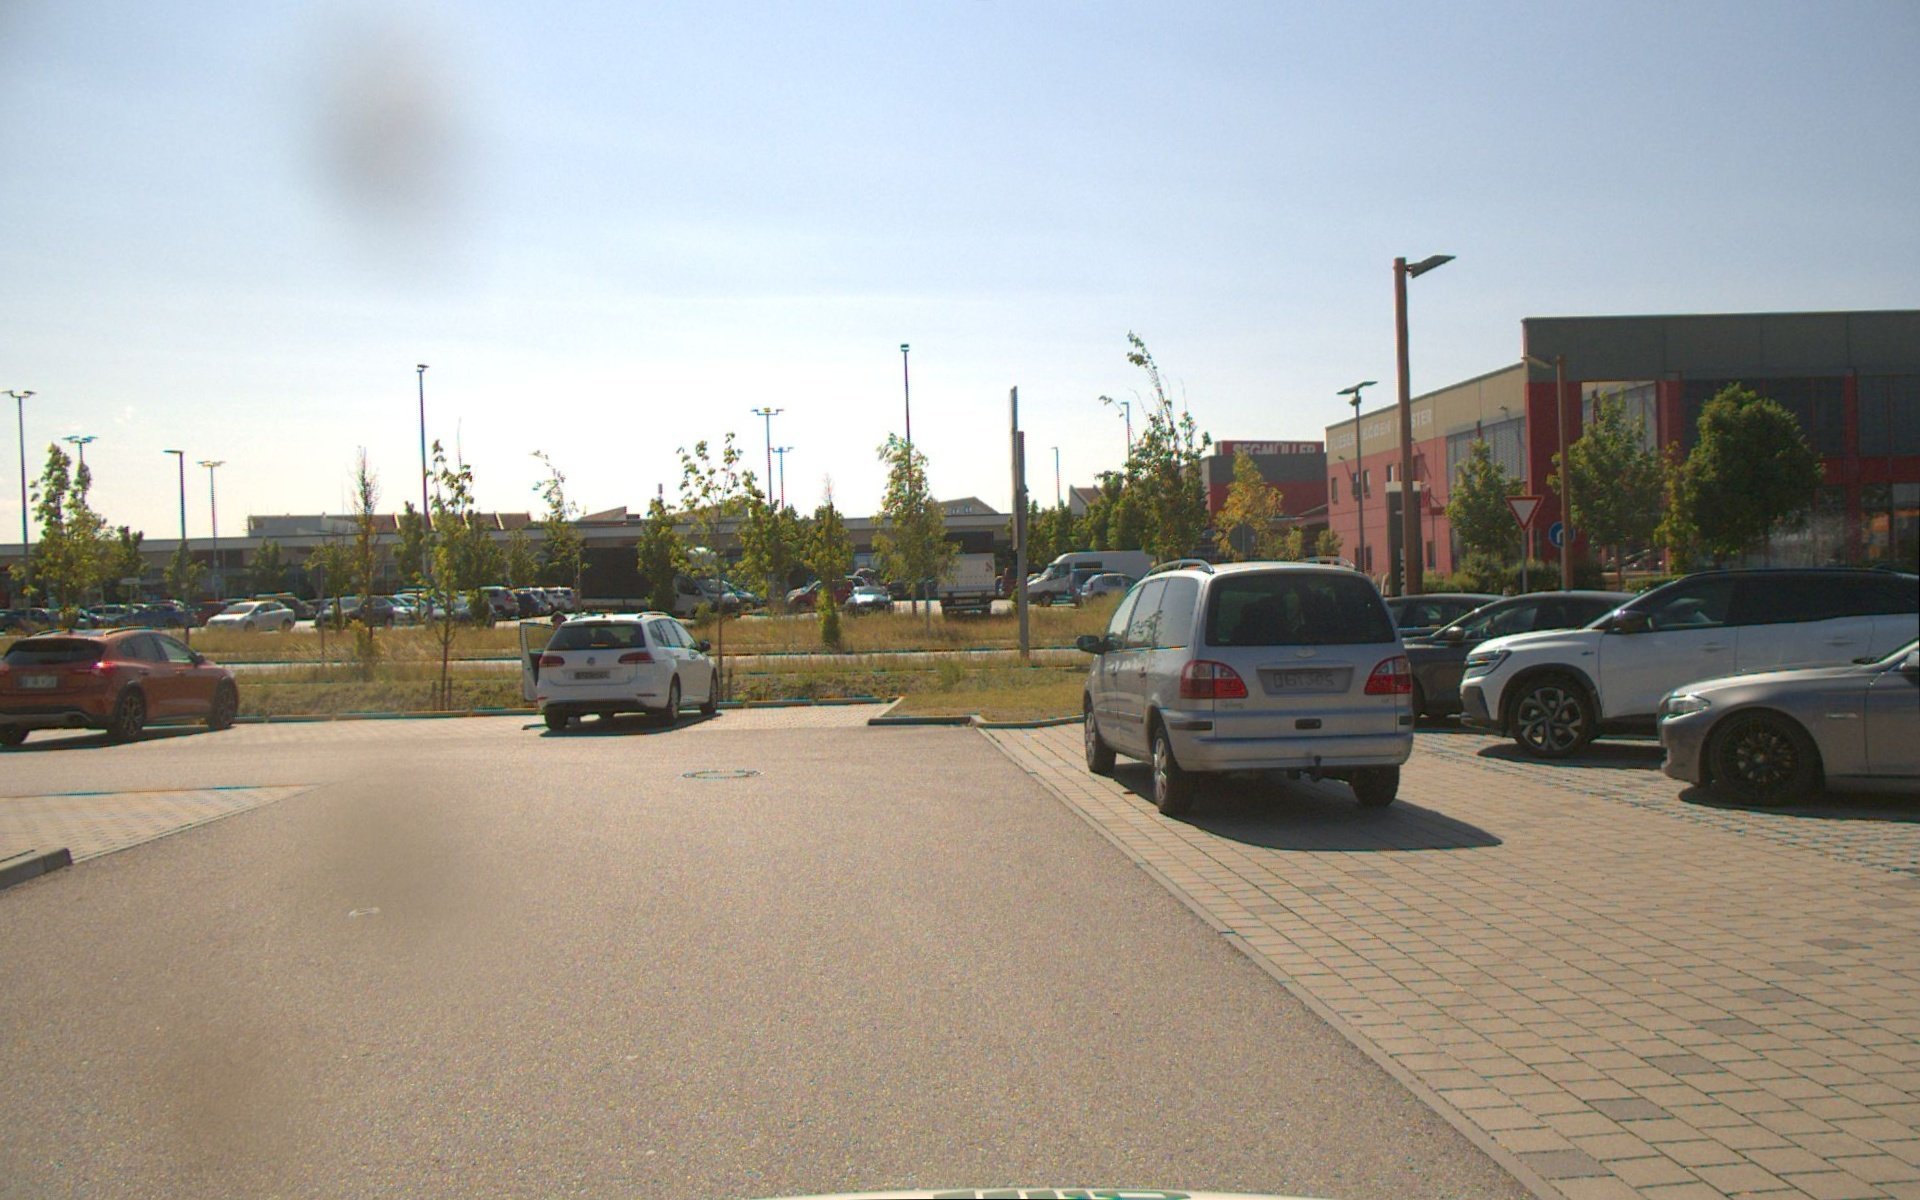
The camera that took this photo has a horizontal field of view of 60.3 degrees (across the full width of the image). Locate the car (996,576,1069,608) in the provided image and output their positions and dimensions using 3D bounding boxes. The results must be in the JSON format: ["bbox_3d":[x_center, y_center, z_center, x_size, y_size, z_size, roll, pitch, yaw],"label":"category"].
[{"bbox_3d":[4.479,-0.486,102.986,4.305,1.888,1.953,-1,0,-6],"label":"car"}]

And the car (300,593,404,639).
[{"bbox_3d":[-26.260,0.674,71.577,1.908,1.888,4.407,-1,0,18],"label":"car"}]

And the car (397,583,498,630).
[{"bbox_3d":[-21.684,0.256,70.179,1.908,1.888,4.407,-1,0,18],"label":"car"}]

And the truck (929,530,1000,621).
[{"bbox_3d":[0.174,-0.980,68.462,2.703,3.541,6.832,-1,0,0],"label":"truck"}]

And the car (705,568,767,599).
[{"bbox_3d":[-14.982,-1.100,110.733,3.907,2.049,1.999,-1,0,-3],"label":"car"}]

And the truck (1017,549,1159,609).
[{"bbox_3d":[6.417,-1.046,83.423,6.899,2.863,1.953,-1,0,-6],"label":"truck"}]

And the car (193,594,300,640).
[{"bbox_3d":[-31.137,0.733,72.300,1.951,1.888,4.288,-1,0,18],"label":"car"}]

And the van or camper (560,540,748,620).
[{"bbox_3d":[-12.771,-0.791,68.855,7.875,3.156,2.416,-1,0,28],"label":"van or camper"}]

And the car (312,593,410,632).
[{"bbox_3d":[-30.736,0.648,84.961,4.305,1.888,1.953,-1,0,-6],"label":"car"}]

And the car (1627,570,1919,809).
[{"bbox_3d":[7.254,0.563,11.272,4.743,1.553,1.970,-1,0,33],"label":"car"}]

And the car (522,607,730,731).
[{"bbox_3d":[-4.490,0.901,22.909,1.789,1.495,4.482,-2,-1,2],"label":"car"}]

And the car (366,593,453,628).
[{"bbox_3d":[-30.977,0.568,93.137,4.305,1.888,1.953,-1,0,-6],"label":"car"}]

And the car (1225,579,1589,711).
[{"bbox_3d":[5.878,0.554,21.979,4.250,1.553,1.966,-1,1,39],"label":"car"}]

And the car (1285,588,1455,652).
[{"bbox_3d":[10.429,0.503,42.239,3.906,1.522,1.676,-1,0,-2],"label":"car"}]

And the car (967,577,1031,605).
[{"bbox_3d":[2.711,-0.660,116.683,4.305,1.888,1.953,-1,0,-6],"label":"car"}]

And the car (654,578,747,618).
[{"bbox_3d":[-13.923,-0.118,88.774,4.826,2.049,2.077,-1,0,-10],"label":"car"}]

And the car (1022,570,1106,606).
[{"bbox_3d":[5.637,-0.655,90.348,4.305,1.888,1.953,-1,0,-6],"label":"car"}]

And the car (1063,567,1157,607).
[{"bbox_3d":[7.317,-0.634,80.973,4.305,1.888,1.953,-1,0,-6],"label":"car"}]

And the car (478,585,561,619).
[{"bbox_3d":[-25.340,0.106,95.306,4.305,1.888,1.953,-1,0,-6],"label":"car"}]

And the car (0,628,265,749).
[{"bbox_3d":[-11.725,1.182,23.340,1.789,1.495,4.354,-2,-1,3],"label":"car"}]

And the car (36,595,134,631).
[{"bbox_3d":[-53.512,0.787,101.263,4.826,2.049,2.077,-1,0,-10],"label":"car"}]

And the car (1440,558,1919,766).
[{"bbox_3d":[6.660,0.511,15.048,4.111,1.683,1.973,-1,0,27],"label":"car"}]

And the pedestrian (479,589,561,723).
[{"bbox_3d":[-6.214,0.786,23.412,0.972,1.841,0.725,-1,-1,-5],"label":"pedestrian"}]

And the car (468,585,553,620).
[{"bbox_3d":[-25.229,0.117,92.957,4.305,1.888,1.953,-1,0,-6],"label":"car"}]

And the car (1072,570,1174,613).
[{"bbox_3d":[7.440,-0.388,75.763,4.305,1.888,1.953,-1,0,-6],"label":"car"}]

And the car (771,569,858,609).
[{"bbox_3d":[-7.166,-0.531,81.442,4.171,1.888,1.868,-1,0,-6],"label":"car"}]

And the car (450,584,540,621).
[{"bbox_3d":[-24.721,0.136,88.085,4.305,1.888,1.953,-1,0,-6],"label":"car"}]

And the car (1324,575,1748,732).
[{"bbox_3d":[6.357,0.545,18.347,4.117,1.553,1.971,-1,0,32],"label":"car"}]

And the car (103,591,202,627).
[{"bbox_3d":[-44.584,0.482,91.411,4.470,1.888,1.953,-1,0,-6],"label":"car"}]

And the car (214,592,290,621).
[{"bbox_3d":[-47.777,0.426,111.699,4.305,1.888,1.953,-1,0,-6],"label":"car"}]

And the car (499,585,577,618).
[{"bbox_3d":[-25.750,0.081,101.078,4.305,1.888,1.953,-1,0,-6],"label":"car"}]

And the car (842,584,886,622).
[{"bbox_3d":[-3.967,0.120,68.771,1.616,1.485,3.966,-1,0,-1],"label":"car"}]

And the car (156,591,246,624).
[{"bbox_3d":[-45.510,0.455,99.199,4.470,1.888,1.953,-1,0,-6],"label":"car"}]

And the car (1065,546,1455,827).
[{"bbox_3d":[2.130,0.560,13.188,1.792,1.779,4.677,-2,0,-6],"label":"car"}]
